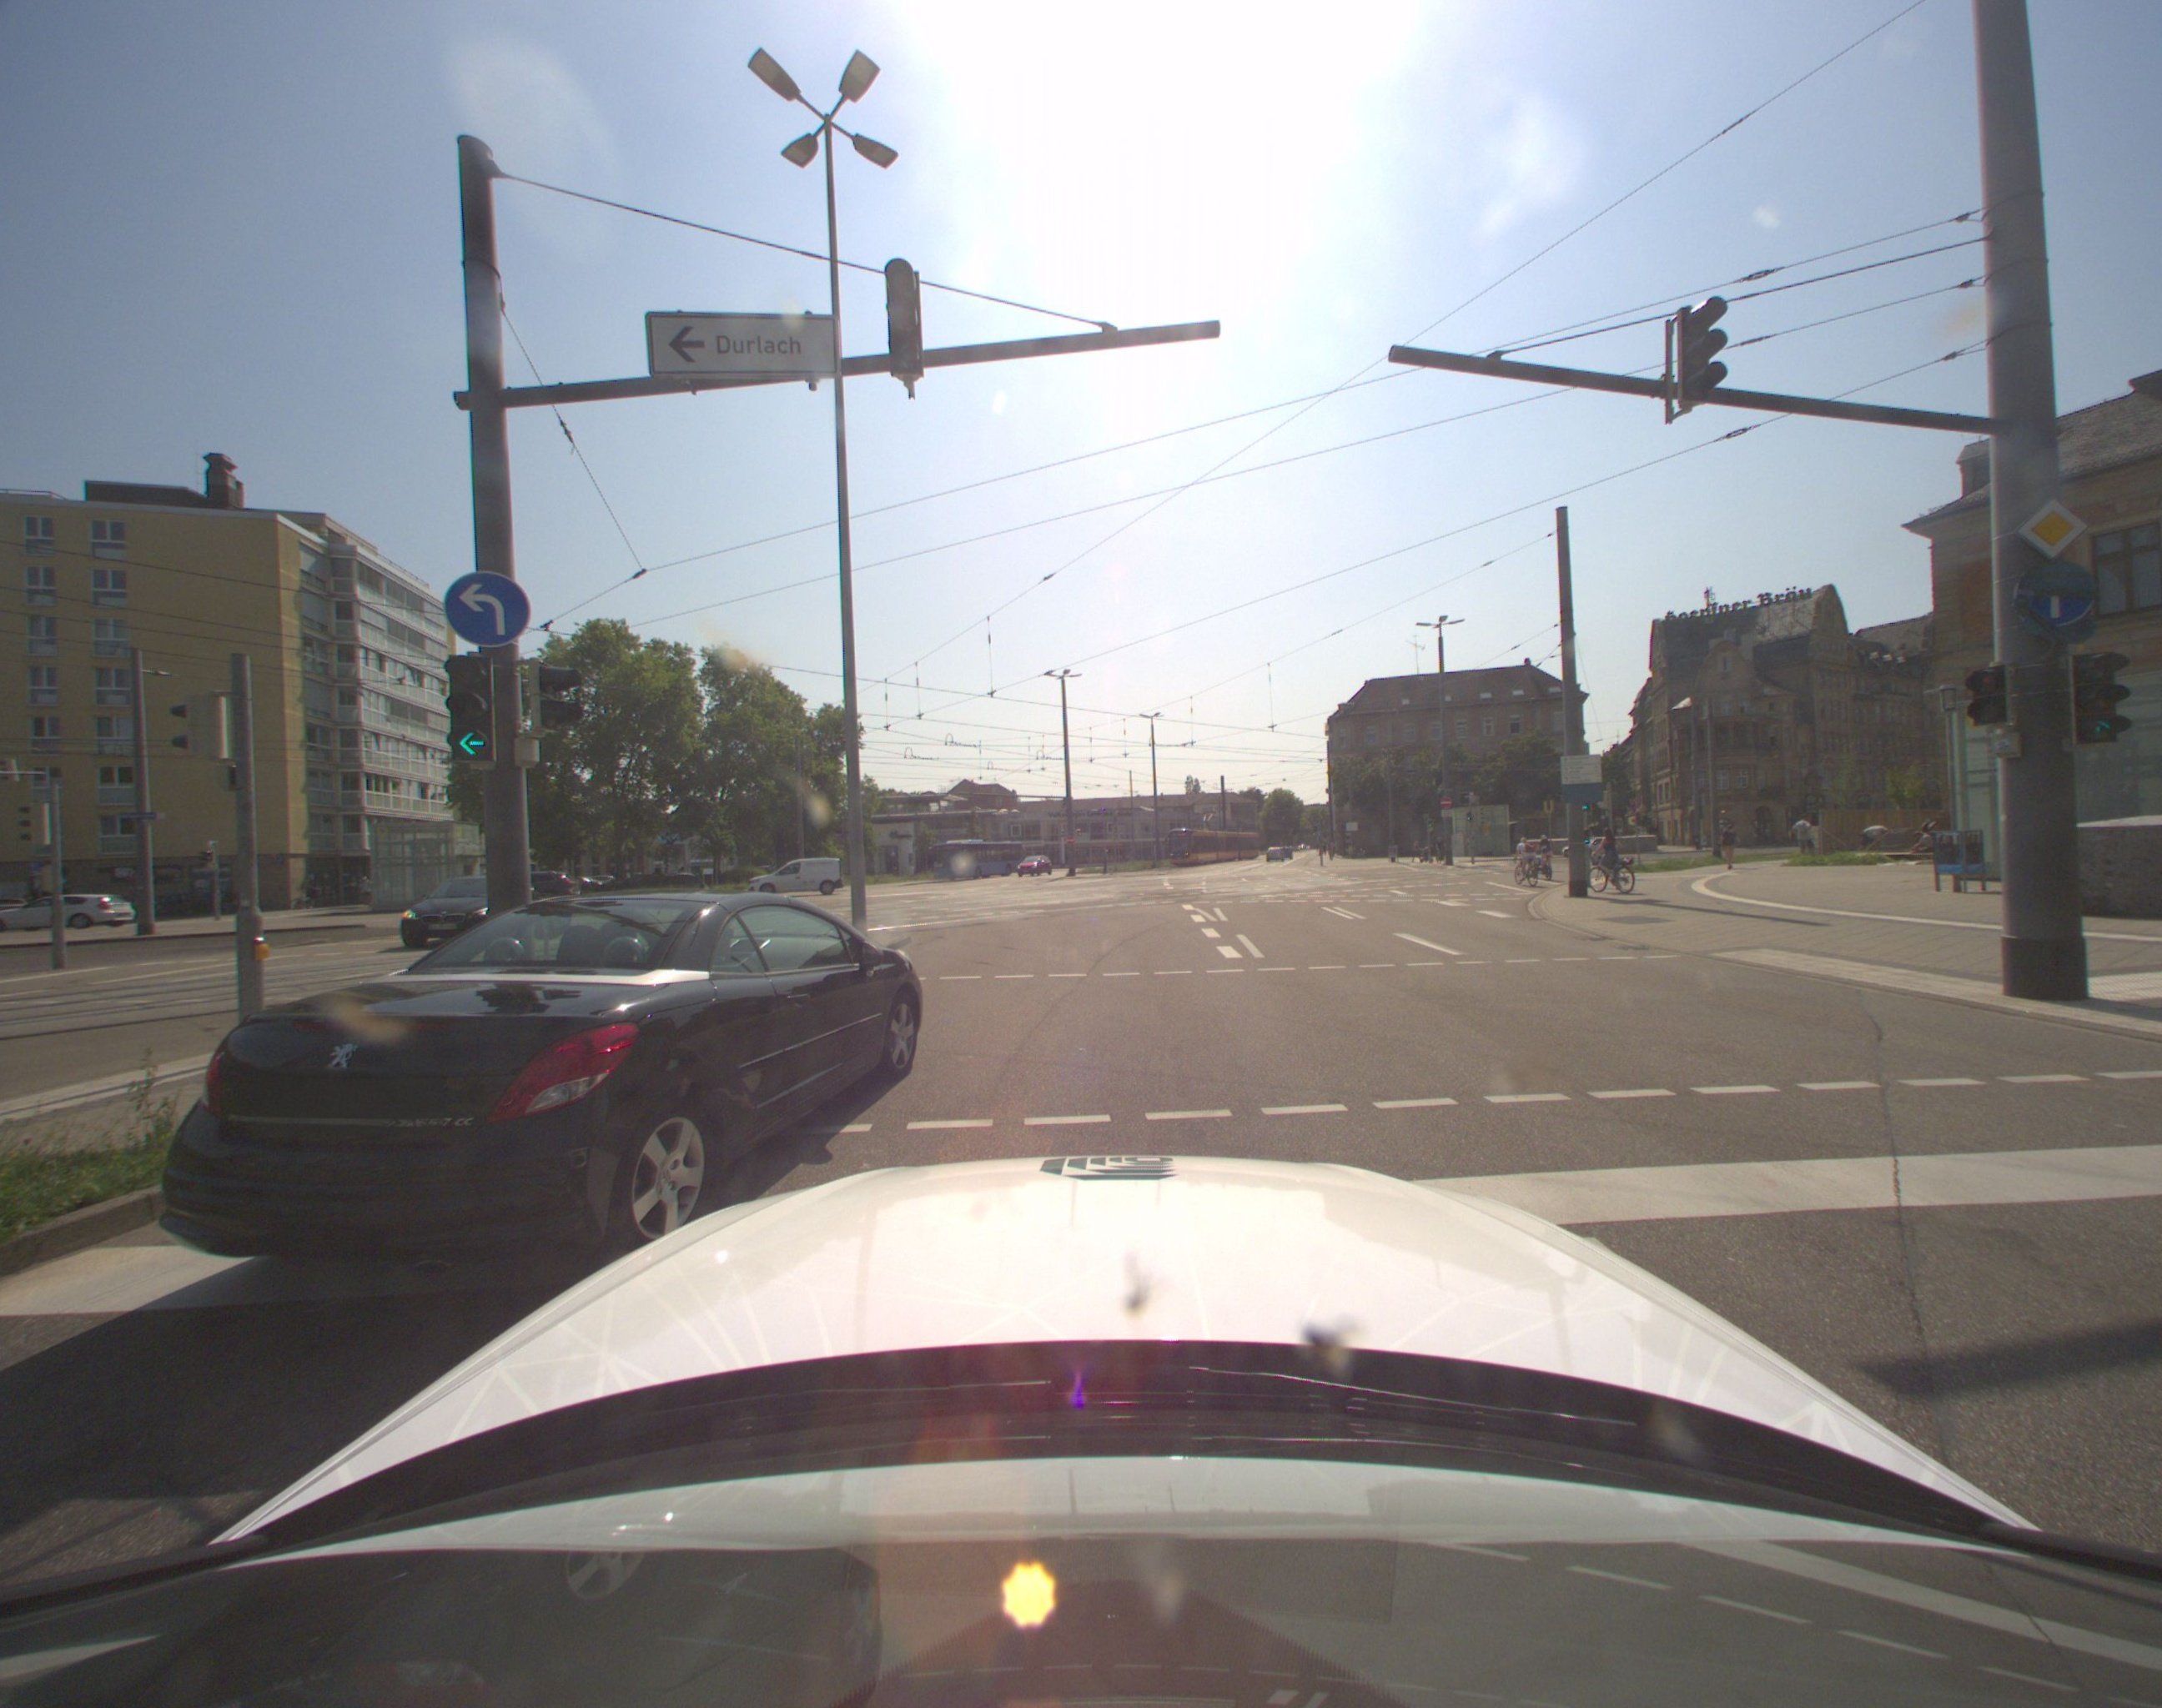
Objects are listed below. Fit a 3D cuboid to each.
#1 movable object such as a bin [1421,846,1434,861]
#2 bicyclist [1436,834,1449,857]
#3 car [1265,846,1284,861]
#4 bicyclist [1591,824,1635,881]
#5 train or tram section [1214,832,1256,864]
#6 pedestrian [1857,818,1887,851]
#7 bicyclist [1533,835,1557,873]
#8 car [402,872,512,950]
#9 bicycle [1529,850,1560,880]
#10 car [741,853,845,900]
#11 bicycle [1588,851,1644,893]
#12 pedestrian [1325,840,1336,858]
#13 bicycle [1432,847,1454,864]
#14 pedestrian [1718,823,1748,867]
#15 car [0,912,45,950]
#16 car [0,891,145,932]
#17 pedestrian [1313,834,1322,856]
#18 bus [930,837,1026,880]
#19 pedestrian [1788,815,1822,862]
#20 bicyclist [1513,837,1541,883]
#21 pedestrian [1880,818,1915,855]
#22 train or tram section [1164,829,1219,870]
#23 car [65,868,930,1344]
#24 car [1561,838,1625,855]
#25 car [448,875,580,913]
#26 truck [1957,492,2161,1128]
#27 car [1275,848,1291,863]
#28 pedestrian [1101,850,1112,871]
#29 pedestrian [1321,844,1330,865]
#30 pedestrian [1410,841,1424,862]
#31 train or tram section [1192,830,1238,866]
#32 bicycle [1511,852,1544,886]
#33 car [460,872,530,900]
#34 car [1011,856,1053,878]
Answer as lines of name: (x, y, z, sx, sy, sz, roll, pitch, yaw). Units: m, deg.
movable object such as a bin: (25.474, -0.068, 59.930, 0.805, 1.077, 0.514, -3, 0, 21)
bicyclist: (24.433, -0.563, 55.043, 0.612, 1.528, 0.519, -2, 0, -12)
car: (20.120, -0.106, 84.600, 1.757, 1.415, 4.205, -2, 0, 14)
bicyclist: (14.434, -0.038, 22.123, 0.730, 1.517, 0.665, -2, 0, 6)
train or tram section: (18.562, -0.789, 97.381, 2.566, 3.516, 13.040, -2, 0, 21)
pedestrian: (30.097, -0.740, 30.987, 0.658, 1.214, 0.531, -2, 0, 30)
bicyclist: (17.117, -0.002, 30.056, 0.526, 1.393, 0.897, -2, 0, 14)
car: (-14.576, 1.243, 19.211, 1.746, 1.560, 4.164, -2, 0, -34)
bicycle: (17.190, 0.386, 30.225, 0.532, 1.055, 1.660, -2, 0, 14)
car: (-14.059, 1.057, 39.919, 4.624, 2.013, 1.987, -2, 0, -19)
bicycle: (14.464, 0.464, 22.063, 0.489, 1.055, 1.826, -2, 0, 7)
pedestrian: (22.753, -0.492, 74.265, 0.699, 1.603, 0.572, -2, 0, -6)
bicycle: (24.450, 0.102, 55.027, 0.469, 1.055, 1.649, -2, 0, -8)
pedestrian: (24.029, -0.326, 30.001, 0.794, 1.575, 0.729, -2, 0, -44)
car: (-48.271, 3.441, 36.664, 3.948, 1.508, 1.759, -2, 0, 35)
car: (-41.894, 2.347, 33.440, 4.199, 1.415, 1.765, -2, 0, -18)
pedestrian: (33.593, -1.286, 115.587, 0.978, 3.017, 0.977, -2, 0, 8)
bus: (-8.080, 0.255, 66.493, 2.541, 3.082, 12.082, -2, 0, 19)
pedestrian: (27.157, -0.583, 30.551, 0.549, 1.724, 0.812, -2, 0, -39)
bicyclist: (14.974, 0.203, 27.378, 0.623, 1.517, 0.715, -2, 0, 14)
pedestrian: (31.743, -0.681, 31.664, 0.768, 1.399, 0.687, -2, 0, -23)
train or tram section: (10.622, -0.469, 77.273, 2.566, 3.516, 10.955, -2, 0, 21)
car: (-2.248, 0.819, 4.472, 1.757, 1.388, 3.787, -1, 0, 6)
car: (37.547, -0.541, 59.751, 4.001, 1.090, 1.986, -2, 0, -21)
car: (-26.415, 1.829, 38.119, 4.624, 1.505, 1.987, -2, 0, -19)
truck: (6.394, -0.226, 1.502, 2.481, 3.134, 6.869, -1, 0, 4)
car: (23.490, 0.132, 94.649, 1.624, 1.618, 4.016, -2, 0, 14)
pedestrian: (1.841, 0.454, 58.326, 0.678, 1.443, 0.364, -2, 0, -15)
pedestrian: (36.153, 0.069, 120.513, 0.978, 3.017, 0.976, -2, 0, 7)
pedestrian: (24.994, -0.180, 60.589, 0.843, 1.545, 0.531, -2, 0, 18)
train or tram section: (14.375, -0.629, 86.815, 2.565, 3.516, 9.711, -2, 0, 22)
bicycle: (14.963, 0.484, 27.328, 0.532, 1.055, 1.660, -2, 0, 14)
car: (-46.830, 2.552, 65.149, 3.994, 2.013, 1.921, -2, 0, -15)
car: (-3.760, 0.982, 63.184, 1.735, 1.552, 4.020, -2, 0, 20)
